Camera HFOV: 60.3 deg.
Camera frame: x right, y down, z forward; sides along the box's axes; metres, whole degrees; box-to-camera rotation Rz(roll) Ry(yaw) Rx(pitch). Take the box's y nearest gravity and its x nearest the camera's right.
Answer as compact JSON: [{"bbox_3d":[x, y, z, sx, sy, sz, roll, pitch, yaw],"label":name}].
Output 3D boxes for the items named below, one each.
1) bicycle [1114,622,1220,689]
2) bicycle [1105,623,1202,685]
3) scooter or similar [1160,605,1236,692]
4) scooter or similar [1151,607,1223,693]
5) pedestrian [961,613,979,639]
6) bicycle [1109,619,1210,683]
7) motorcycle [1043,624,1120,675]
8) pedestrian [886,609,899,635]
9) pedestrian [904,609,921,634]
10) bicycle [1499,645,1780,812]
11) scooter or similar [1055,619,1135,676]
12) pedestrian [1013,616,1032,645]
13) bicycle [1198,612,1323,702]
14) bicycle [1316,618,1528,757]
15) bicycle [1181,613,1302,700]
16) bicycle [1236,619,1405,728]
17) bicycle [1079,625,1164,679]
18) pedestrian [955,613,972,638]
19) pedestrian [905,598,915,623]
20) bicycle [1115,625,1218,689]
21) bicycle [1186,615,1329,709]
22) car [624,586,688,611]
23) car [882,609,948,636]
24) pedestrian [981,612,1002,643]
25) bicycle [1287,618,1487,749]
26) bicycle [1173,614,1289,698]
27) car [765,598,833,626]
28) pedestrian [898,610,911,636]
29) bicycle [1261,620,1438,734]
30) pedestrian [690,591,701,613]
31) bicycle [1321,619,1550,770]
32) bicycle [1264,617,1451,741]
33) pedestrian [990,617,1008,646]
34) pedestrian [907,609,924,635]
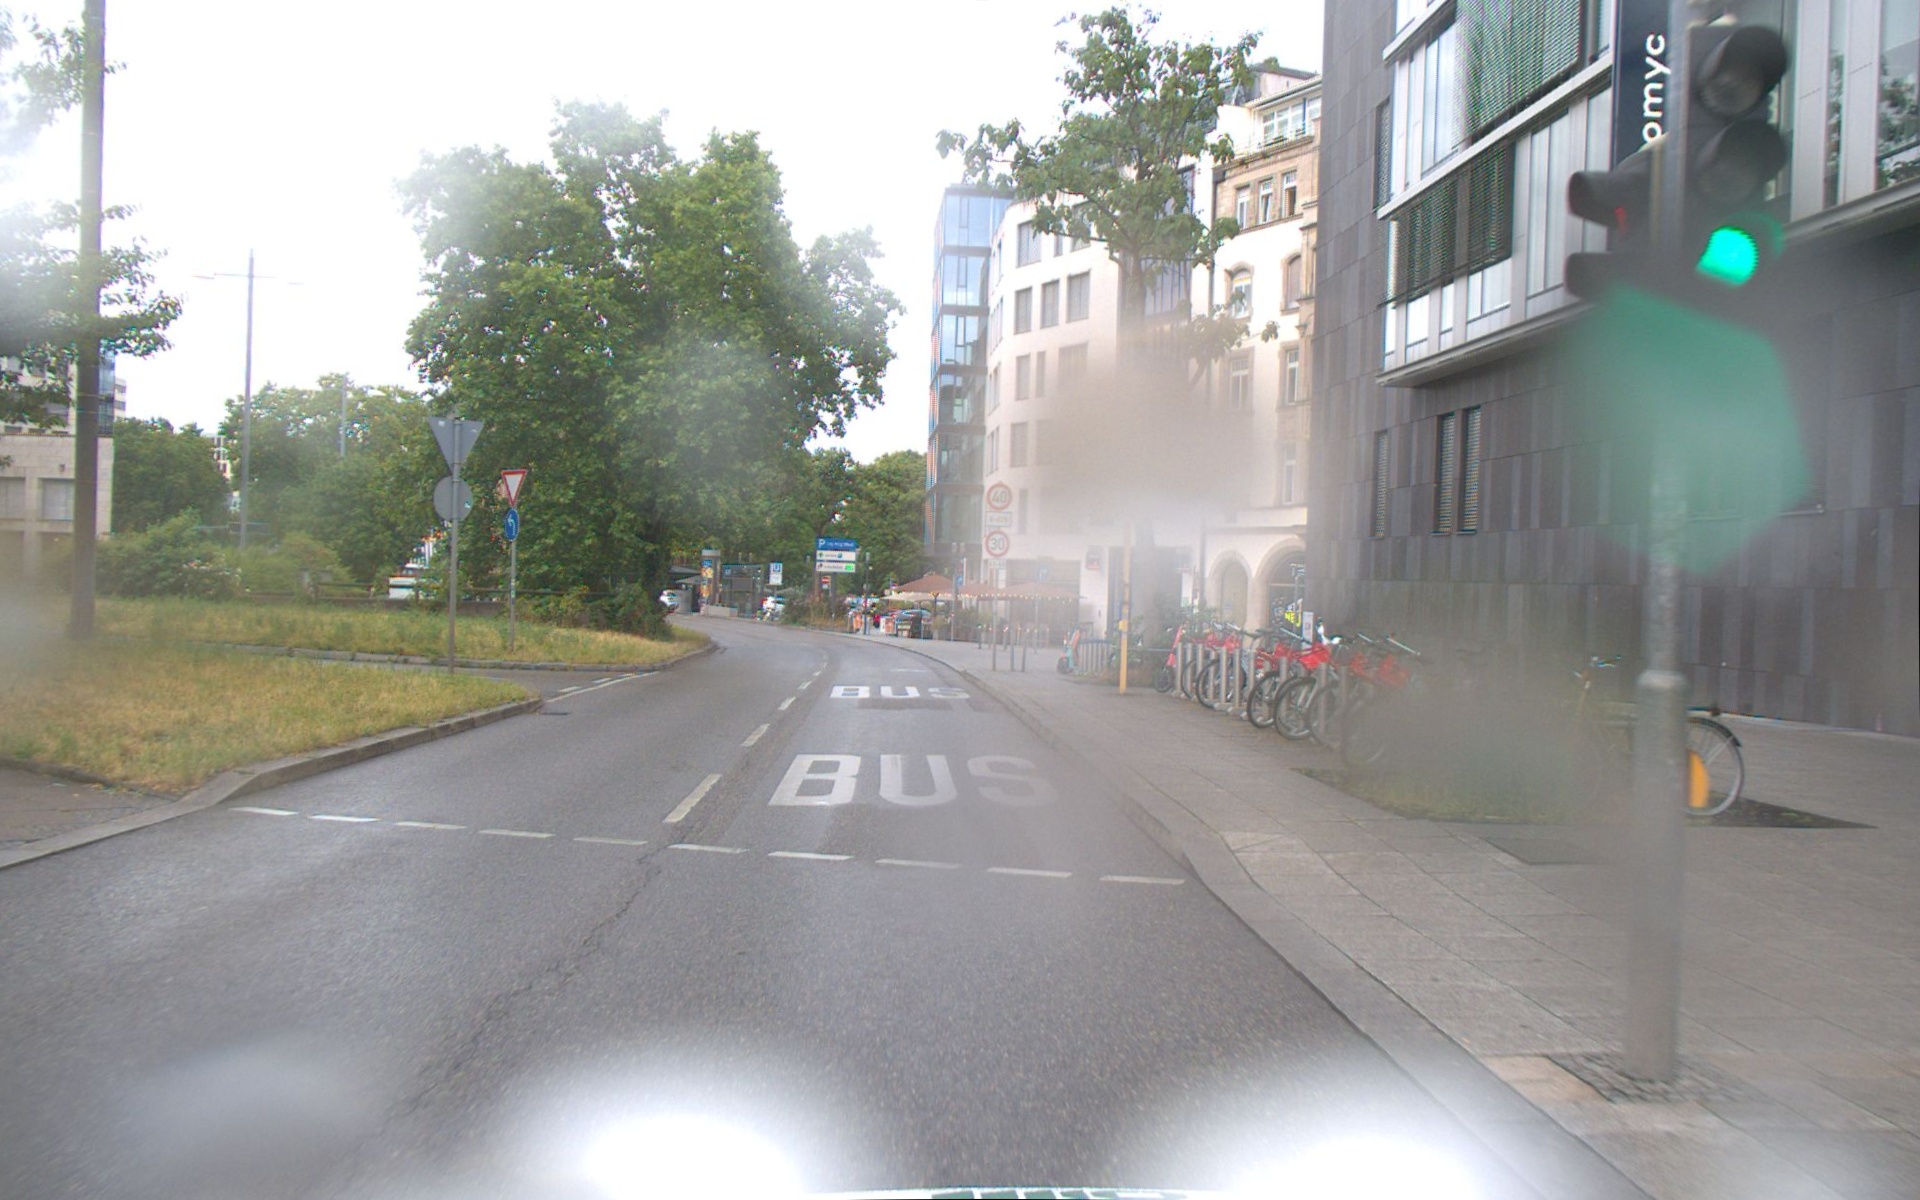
[{"bbox_3d":[3.680,0.986,29.462,1.760,1.087,0.555,3,-2,-8],"label":"bicycle"},{"bbox_3d":[3.846,1.070,32.938,1.761,1.127,0.668,3,-2,-9],"label":"bicycle"},{"bbox_3d":[3.604,0.732,25.066,1.085,1.280,0.302,2,-2,-10],"label":"scooter or similar"},{"bbox_3d":[3.488,0.772,25.420,1.041,1.280,0.302,2,-2,-10],"label":"scooter or similar"},{"bbox_3d":[0.538,1.409,90.791,0.802,1.349,0.635,4,-1,-7],"label":"pedestrian"},{"bbox_3d":[3.734,0.953,30.960,1.760,1.087,0.555,3,-2,-8],"label":"bicycle"},{"bbox_3d":[2.970,1.211,40.574,1.759,1.159,0.595,3,-2,-9],"label":"motorcycle"},{"bbox_3d":[-3.637,1.180,89.038,0.594,1.349,0.566,4,-1,-7],"label":"pedestrian"},{"bbox_3d":[-2.626,1.195,91.667,0.802,1.349,0.635,4,-1,-7],"label":"pedestrian"},{"bbox_3d":[4.704,0.878,11.488,1.698,1.089,0.688,1,0,-10],"label":"bicycle"},{"bbox_3d":[3.232,1.141,39.609,1.759,1.265,0.595,3,-2,-9],"label":"scooter or similar"},{"bbox_3d":[3.043,1.493,80.274,0.619,1.349,0.630,4,-1,-28],"label":"pedestrian"},{"bbox_3d":[4.041,0.763,22.279,1.506,1.160,0.687,2,-2,-10],"label":"bicycle"},{"bbox_3d":[4.149,0.781,14.892,1.698,1.204,0.688,1,0,-10],"label":"bicycle"},{"bbox_3d":[3.917,0.782,23.050,1.506,1.160,0.687,2,-2,-10],"label":"bicycle"},{"bbox_3d":[3.989,0.808,18.361,1.698,1.160,0.688,1,0,-10],"label":"bicycle"},{"bbox_3d":[3.665,1.177,37.614,1.761,1.127,0.668,3,-2,-9],"label":"bicycle"},{"bbox_3d":[0.189,1.404,91.662,0.802,1.349,0.635,4,-1,-7],"label":"pedestrian"},{"bbox_3d":[-4.055,0.865,134.333,0.611,1.967,0.788,2,-1,3],"label":"pedestrian"},{"bbox_3d":[3.783,1.043,30.329,1.760,1.087,0.555,3,-2,-8],"label":"bicycle"},{"bbox_3d":[3.851,0.805,21.467,1.674,1.160,0.687,2,-2,-10],"label":"bicycle"},{"bbox_3d":[-22.730,-0.099,123.529,4.241,1.695,1.954,2,-1,19],"label":"car"},{"bbox_3d":[-3.265,1.608,119.968,4.641,1.720,2.003,3,0,-4],"label":"car"},{"bbox_3d":[1.445,1.247,75.820,0.759,1.349,0.634,4,-1,-8],"label":"pedestrian"},{"bbox_3d":[4.053,0.787,15.742,1.698,1.204,0.688,1,0,-10],"label":"bicycle"},{"bbox_3d":[3.909,0.806,23.921,1.506,1.160,0.661,2,-2,-10],"label":"bicycle"},{"bbox_3d":[-11.387,0.860,117.042,4.641,1.720,2.003,3,0,-4],"label":"car"},{"bbox_3d":[-3.004,1.227,89.116,0.594,1.349,0.566,4,-1,-7],"label":"pedestrian"},{"bbox_3d":[4.132,0.814,17.586,1.698,1.160,0.688,1,0,-10],"label":"bicycle"},{"bbox_3d":[-21.516,0.184,134.749,0.707,1.731,0.619,1,-1,4],"label":"pedestrian"},{"bbox_3d":[3.941,0.773,13.753,1.698,1.204,0.688,1,0,-10],"label":"bicycle"},{"bbox_3d":[4.004,0.790,16.718,1.698,1.204,0.688,1,0,-10],"label":"bicycle"},{"bbox_3d":[1.944,1.562,82.205,0.619,1.349,0.630,4,-1,-28],"label":"pedestrian"},{"bbox_3d":[-2.438,1.189,90.782,0.802,1.349,0.635,4,-1,-7],"label":"pedestrian"}]
